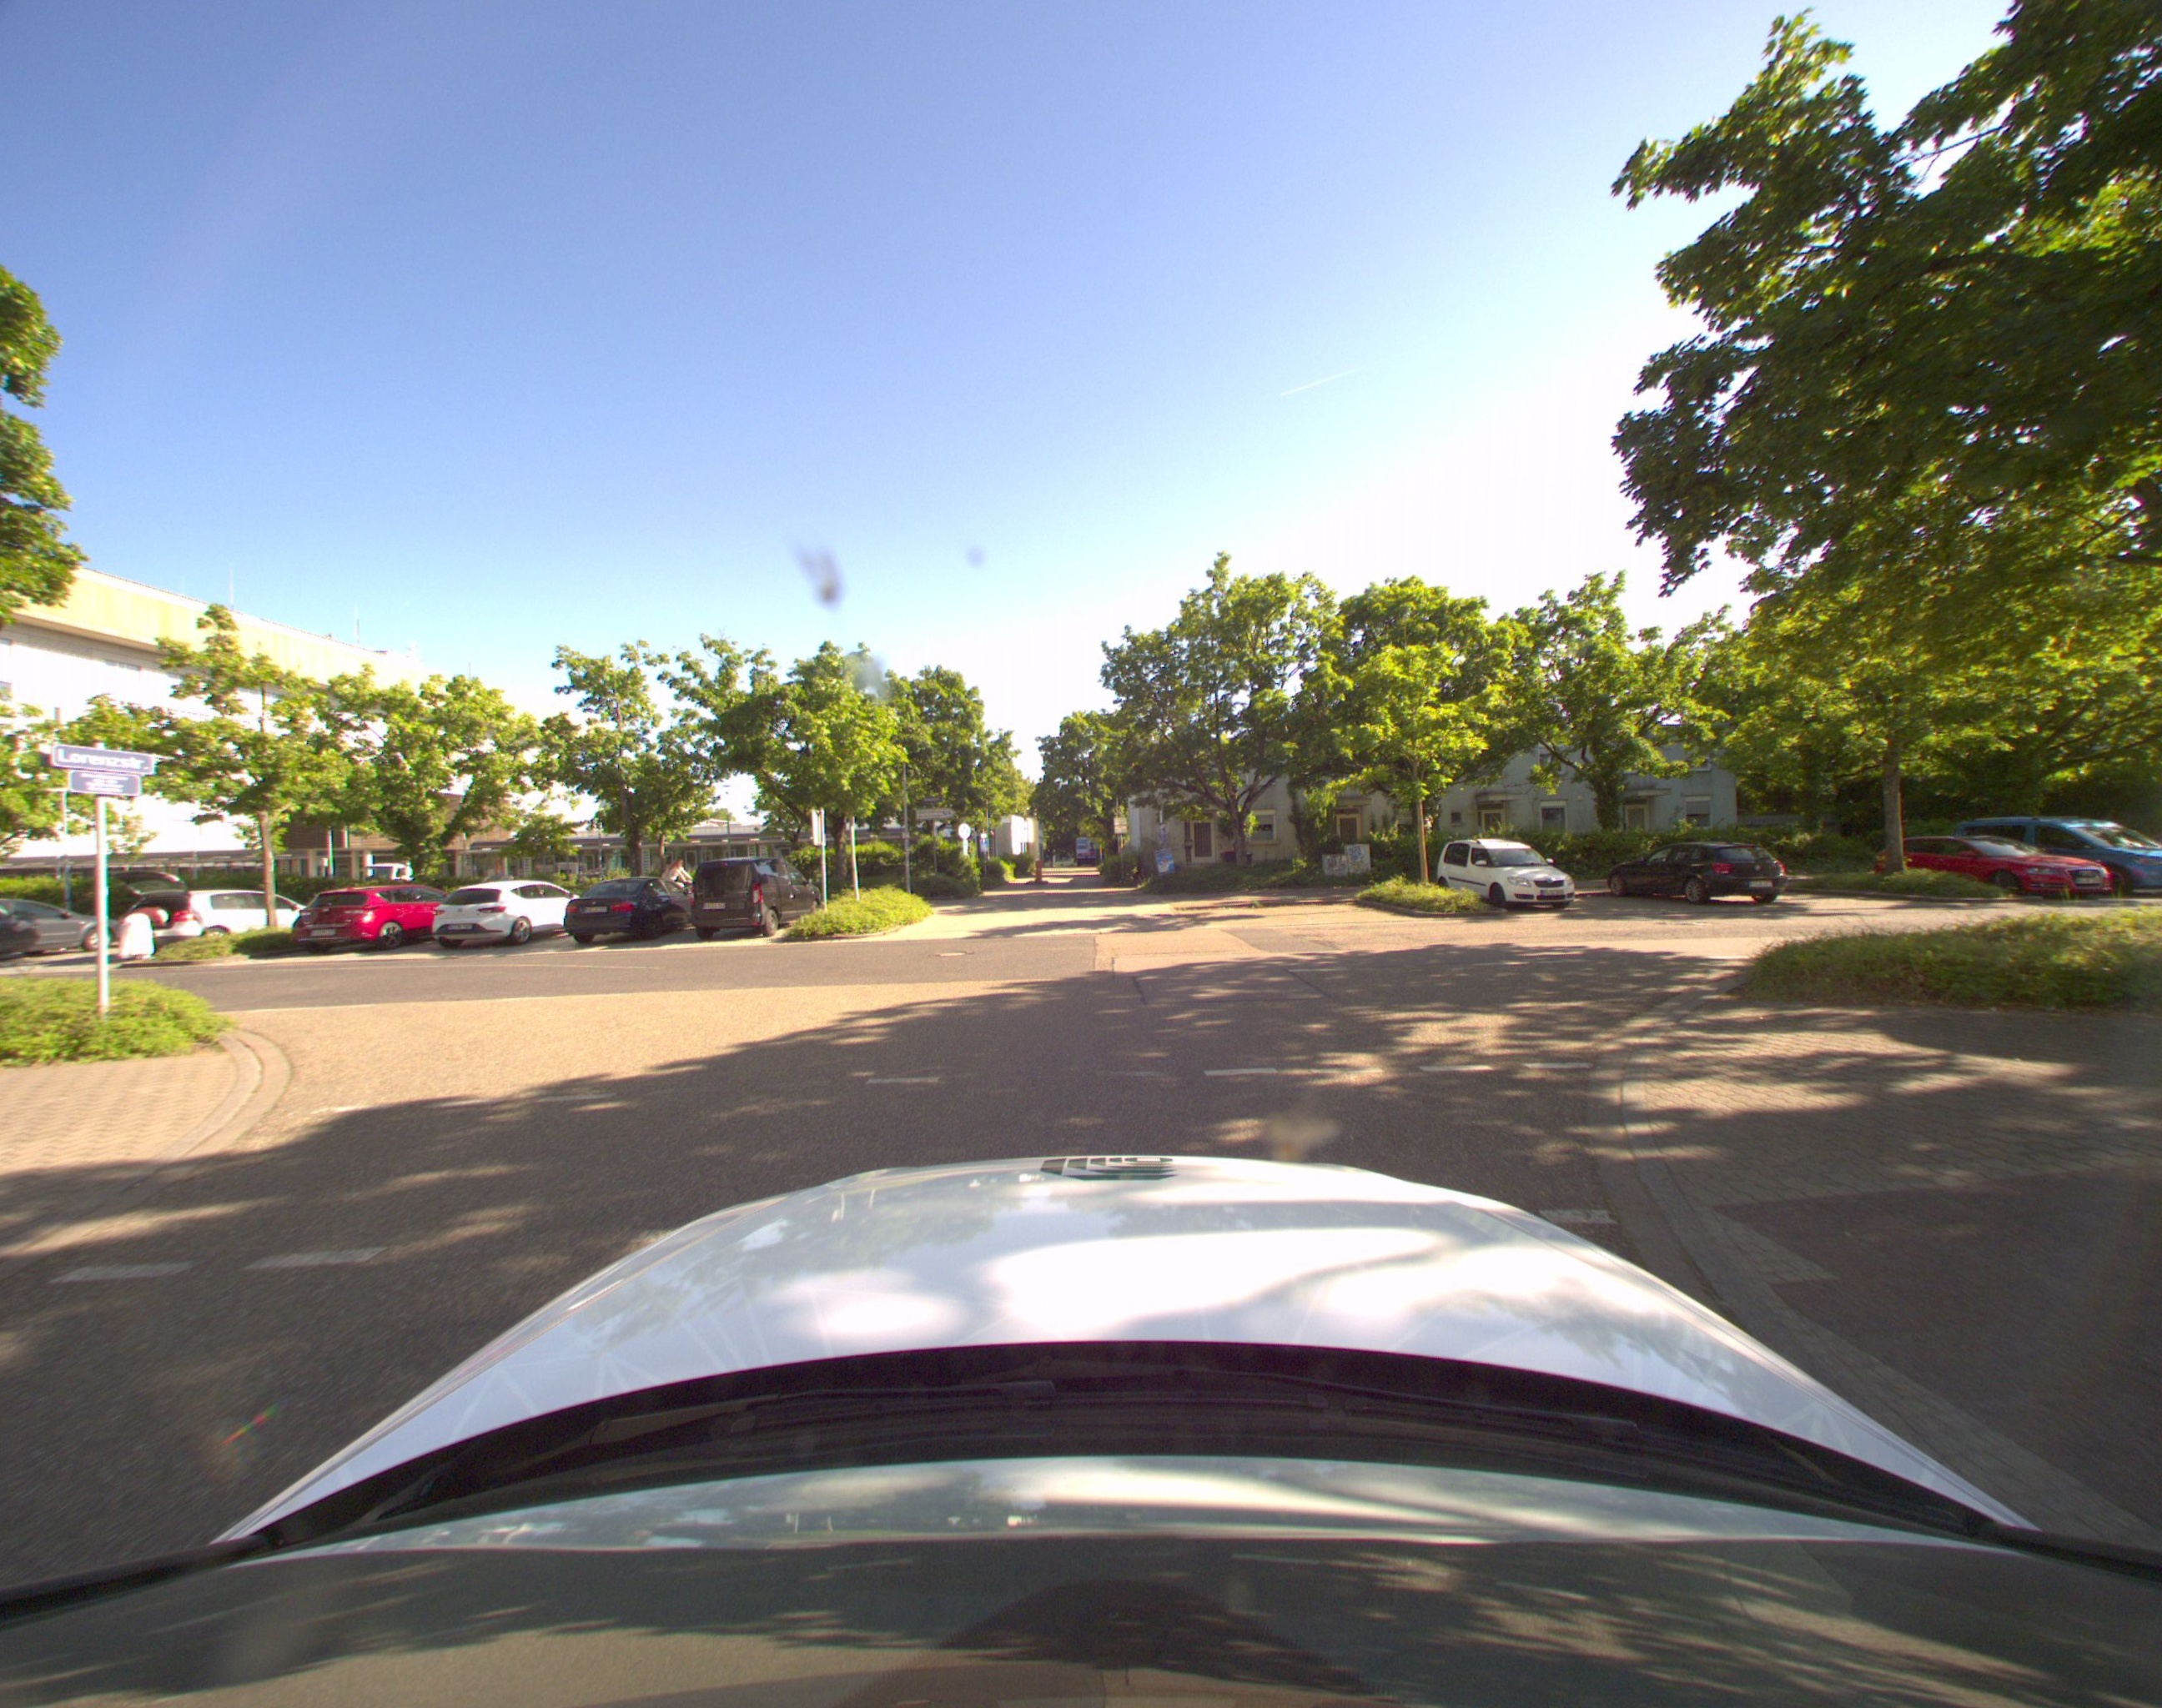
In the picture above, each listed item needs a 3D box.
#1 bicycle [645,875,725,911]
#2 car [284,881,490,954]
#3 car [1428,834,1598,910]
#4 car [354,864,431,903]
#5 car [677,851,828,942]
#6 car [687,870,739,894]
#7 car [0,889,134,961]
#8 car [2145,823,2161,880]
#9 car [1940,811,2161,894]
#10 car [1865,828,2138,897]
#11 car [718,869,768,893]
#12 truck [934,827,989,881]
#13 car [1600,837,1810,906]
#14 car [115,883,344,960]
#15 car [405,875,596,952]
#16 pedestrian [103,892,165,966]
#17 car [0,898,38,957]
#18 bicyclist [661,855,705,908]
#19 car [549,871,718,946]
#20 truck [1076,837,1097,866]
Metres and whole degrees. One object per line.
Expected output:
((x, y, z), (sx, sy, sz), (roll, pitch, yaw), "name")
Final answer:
((-11.762, 1.149, 24.202), (2.075, 0.996, 0.596), (-1, 0, 0), "bicycle")
((-16.537, 1.458, 19.710), (1.662, 1.426, 3.910), (-1, 0, -1), "car")
((10.303, 0.362, 19.826), (1.818, 1.598, 4.166), (-2, 1, -1), "car")
((-49.190, 2.071, 58.307), (2.217, 2.491, 3.648), (-2, 0, 2), "car")
((-7.796, 0.915, 19.822), (1.867, 1.846, 4.169), (-2, 1, 1), "car")
((-26.645, 1.991, 59.146), (1.829, 1.497, 3.910), (-2, 0, 2), "car")
((-26.018, 1.752, 19.521), (1.726, 1.519, 4.197), (-2, 0, -1), "car")
((28.935, -0.073, 19.567), (1.758, 1.473, 3.785), (-2, 1, -1), "car")
((24.150, -0.093, 19.685), (1.818, 1.772, 4.663), (-2, 1, -1), "car")
((21.808, 0.145, 19.592), (1.818, 1.406, 4.166), (-2, 1, -1), "car")
((-24.531, 1.955, 59.255), (1.829, 1.497, 3.910), (-2, 0, 2), "car")
((-8.810, 0.002, 60.935), (2.791, 3.806, 6.928), (-1, 0, 2), "truck")
((14.833, 0.340, 19.702), (1.818, 1.406, 4.166), (-2, 1, -1), "car")
((-21.132, 1.606, 20.469), (1.669, 1.578, 3.910), (-1, 0, -1), "car")
((-13.744, 1.336, 19.608), (1.797, 1.436, 3.910), (-2, 1, -1), "car")
((-21.064, 1.648, 18.126), (0.665, 1.579, 0.771), (-1, -1, 28), "pedestrian")
((-28.465, 1.903, 19.643), (1.611, 1.468, 3.910), (-1, 0, -1), "car")
((-11.823, 0.807, 24.203), (1.007, 1.523, 0.596), (-1, 0, 2), "bicyclist")
((-10.677, 1.228, 19.847), (1.818, 1.406, 4.166), (-2, 1, -1), "car")
((0.791, -0.331, 114.428), (2.750, 3.869, 9.331), (-1, 0, 1), "truck")
